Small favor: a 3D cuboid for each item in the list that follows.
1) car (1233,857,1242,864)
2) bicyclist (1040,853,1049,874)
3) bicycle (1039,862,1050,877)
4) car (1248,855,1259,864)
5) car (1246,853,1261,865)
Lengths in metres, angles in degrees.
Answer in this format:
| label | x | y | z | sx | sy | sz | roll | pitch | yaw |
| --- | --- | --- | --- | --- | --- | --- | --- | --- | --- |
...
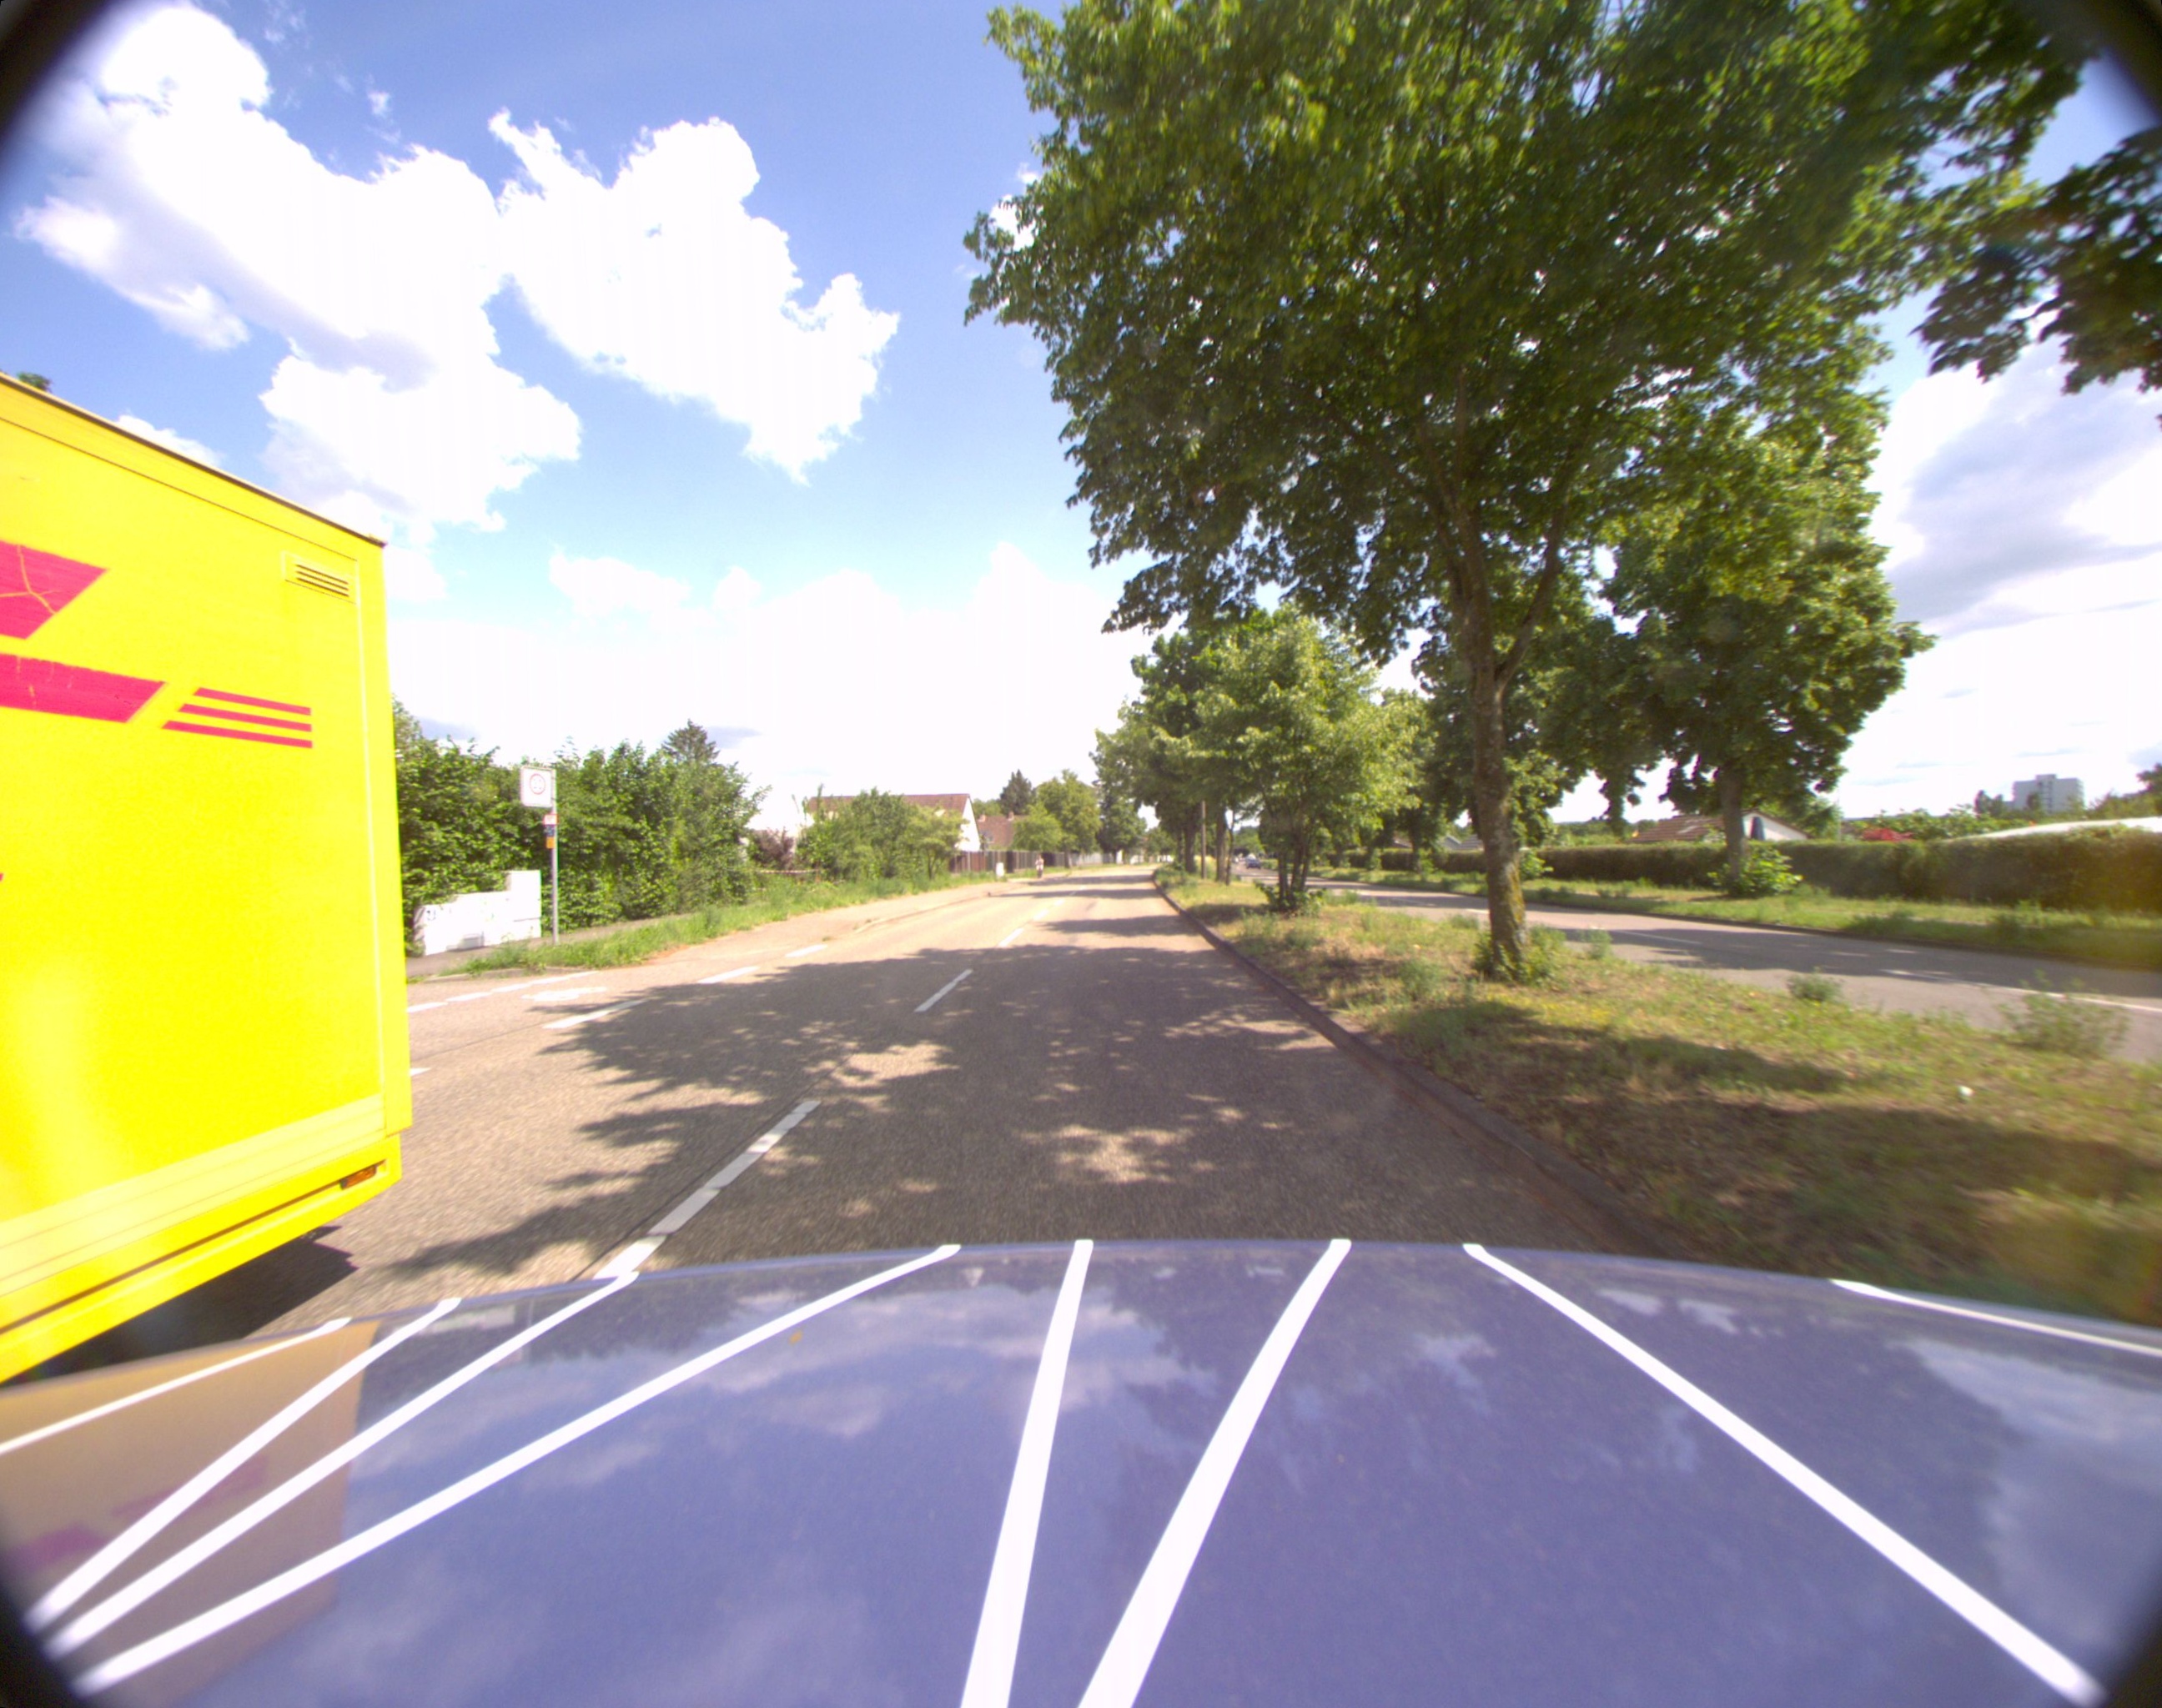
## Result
| label | x | y | z | sx | sy | sz | roll | pitch | yaw |
| --- | --- | --- | --- | --- | --- | --- | --- | --- | --- |
| car | 33.923 | 1.415 | 164.220 | 1.739 | 1.577 | 4.116 | 1 | 0 | 14 |
| bicyclist | -2.932 | 0.759 | 60.663 | 0.620 | 1.625 | 0.700 | -1 | 1 | 4 |
| bicycle | -2.927 | 1.204 | 60.643 | 0.626 | 1.145 | 1.739 | -1 | 0 | 4 |
| car | 30.827 | 1.045 | 135.605 | 1.739 | 1.577 | 4.116 | 1 | 0 | 14 |
| car | 22.570 | 0.614 | 99.519 | 1.739 | 1.577 | 4.115 | 1 | 0 | 10 |
